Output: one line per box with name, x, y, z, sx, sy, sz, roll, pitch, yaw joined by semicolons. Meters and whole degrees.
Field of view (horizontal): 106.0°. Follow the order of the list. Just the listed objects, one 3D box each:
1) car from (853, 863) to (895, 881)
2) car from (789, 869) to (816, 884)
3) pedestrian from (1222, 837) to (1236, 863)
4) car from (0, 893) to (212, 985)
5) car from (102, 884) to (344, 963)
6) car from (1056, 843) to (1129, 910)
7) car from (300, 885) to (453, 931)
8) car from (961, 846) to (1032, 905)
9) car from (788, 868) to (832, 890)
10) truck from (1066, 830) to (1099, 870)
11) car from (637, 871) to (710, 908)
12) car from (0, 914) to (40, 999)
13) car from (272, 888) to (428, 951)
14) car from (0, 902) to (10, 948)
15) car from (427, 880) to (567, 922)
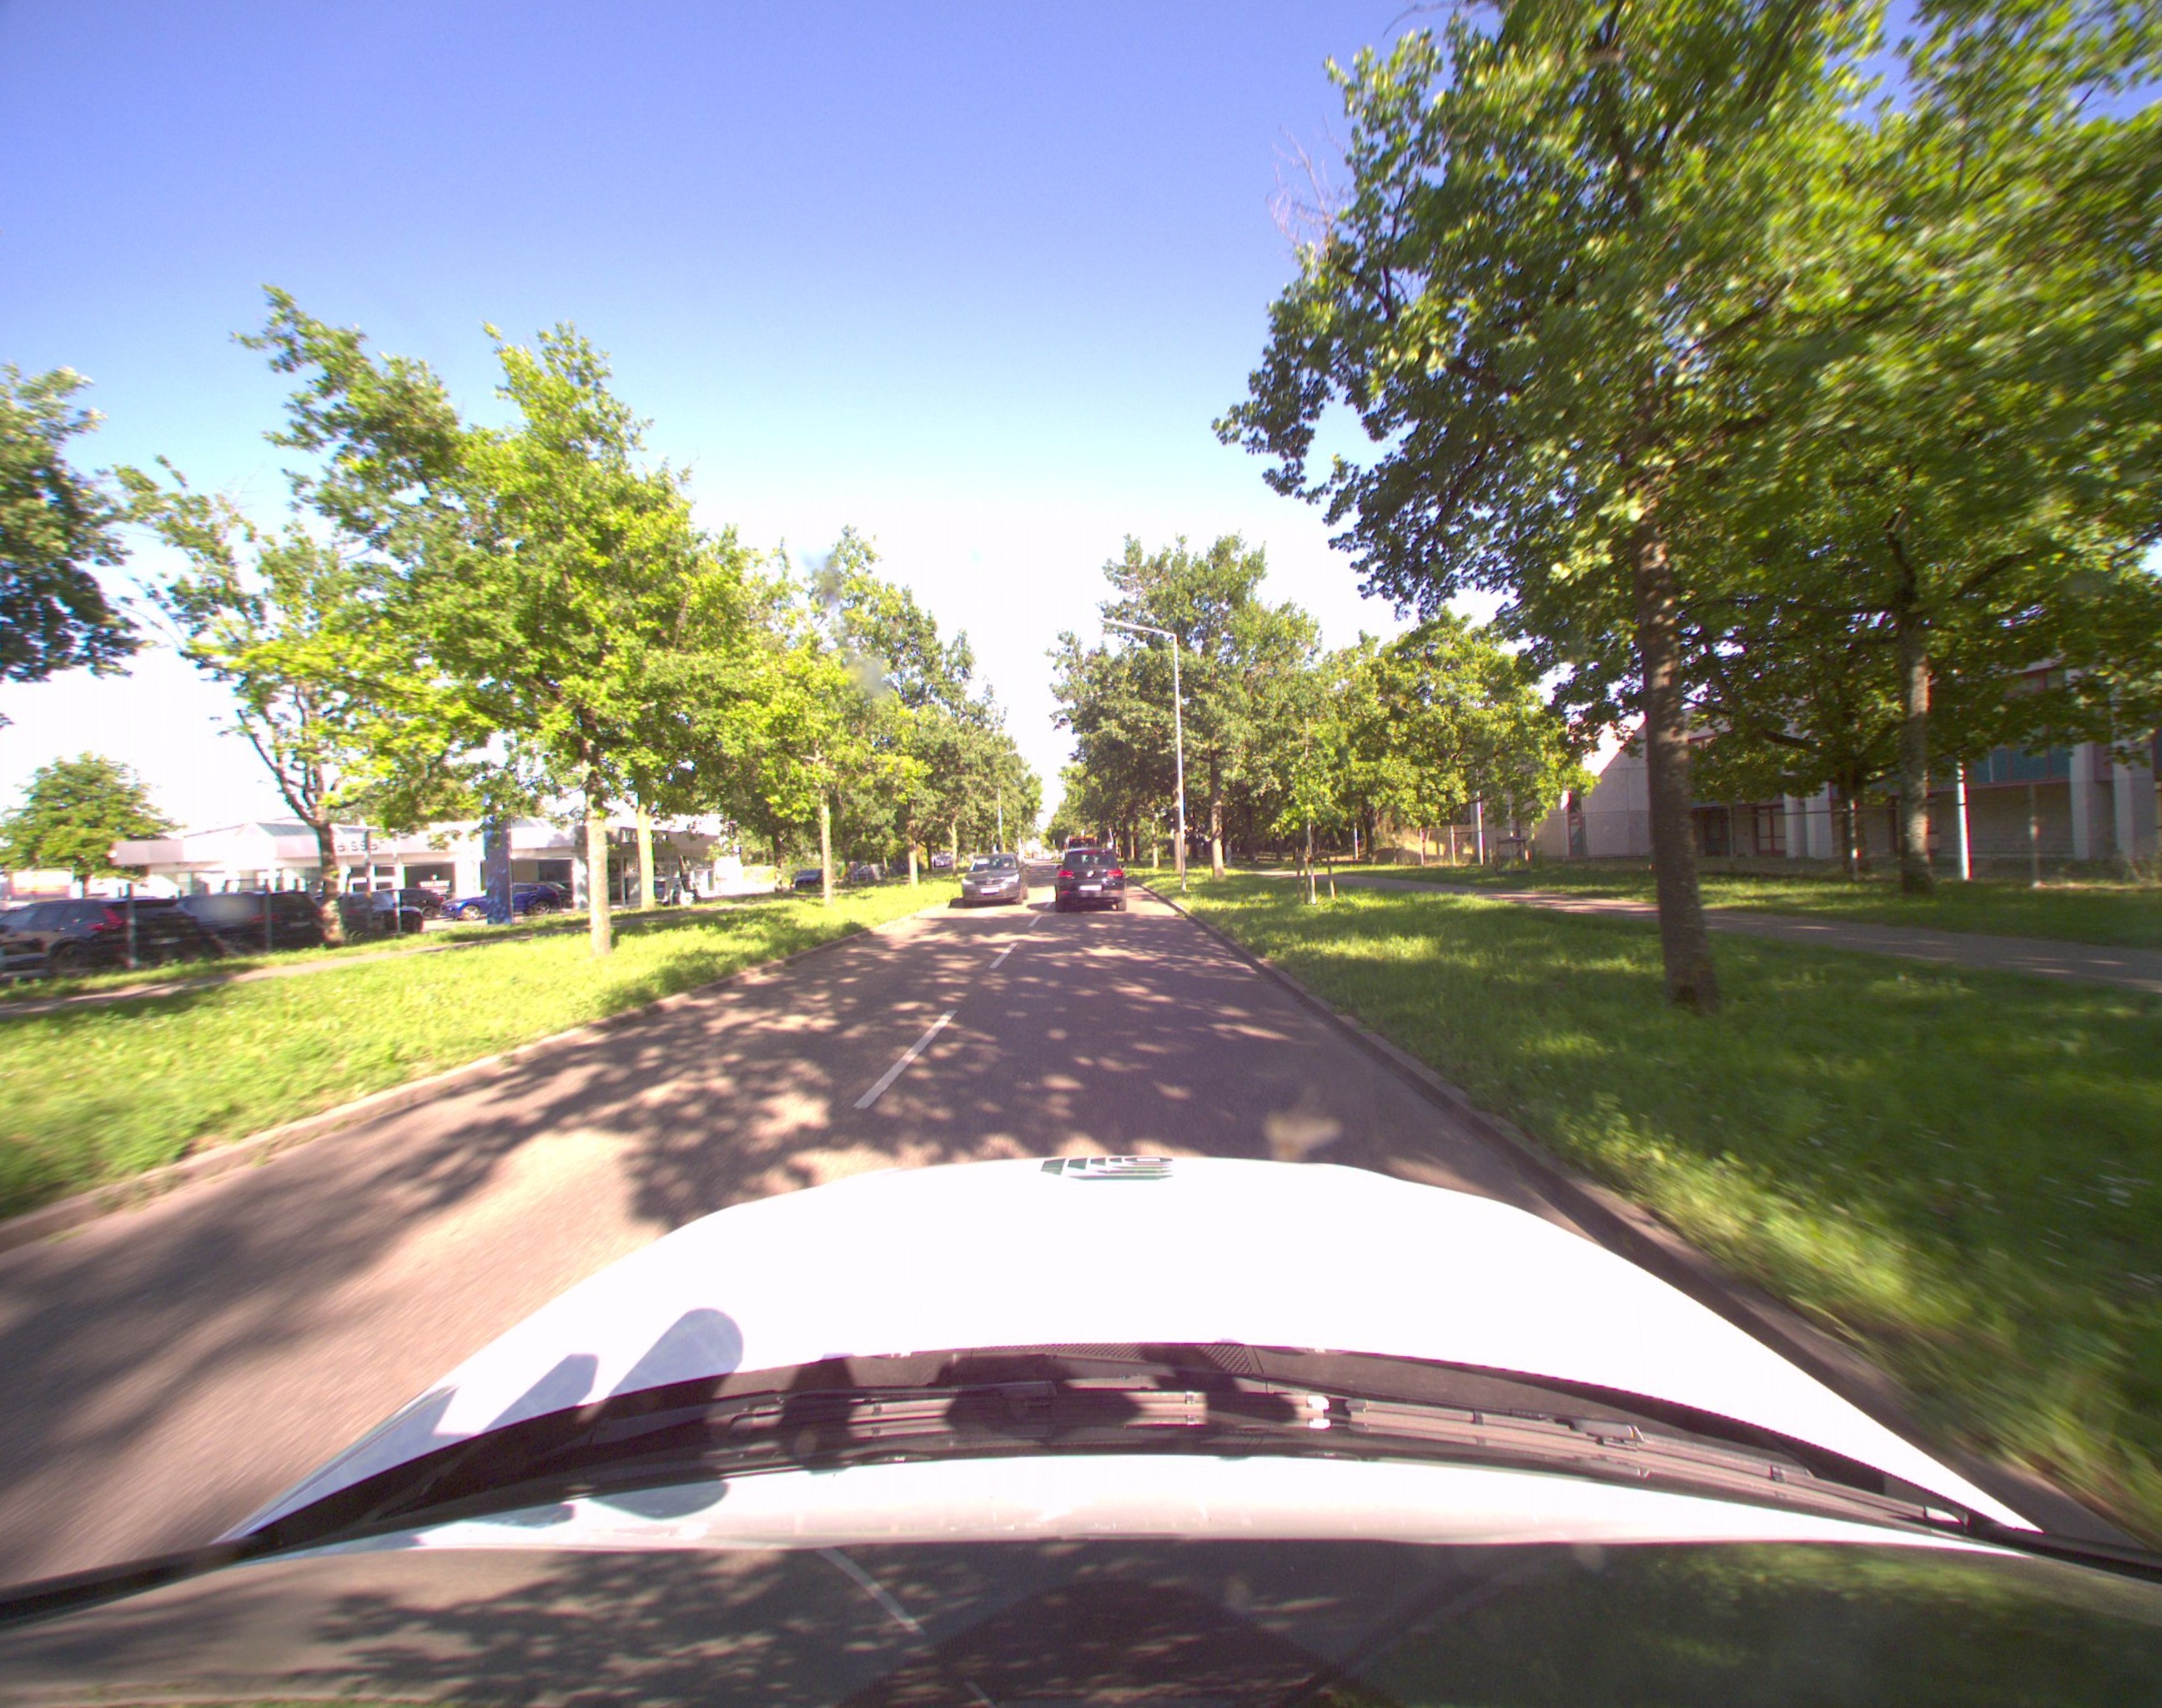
car;-21.627;1.833;85.087;3.985;1.801;1.994;-1;0;-9
car;-32.646;2.603;95.459;1.992;1.566;4.873;-1;0;-7
pedestrian;9.703;-0.250;53.300;0.711;1.631;0.612;-5;0;16
car;-21.560;1.779;17.419;3.971;1.746;1.863;-1;0;2
car;-21.269;1.691;20.319;3.970;1.742;2.002;-1;0;3
car;0.218;0.568;22.193;1.778;1.633;3.996;-1;0;-2
car;-33.192;2.491;38.576;1.975;1.660;5.041;-1;1;27
car;-2.641;0.650;26.371;1.762;1.672;4.198;-4;0;0
car;-21.913;2.007;66.092;1.988;1.597;5.011;-1;0;-2
truck;0.026;-0.347;73.430;2.506;3.243;8.144;-2;0;-2
car;-18.245;1.579;36.484;2.547;1.470;1.432;-2;0;16
car;-21.764;1.907;14.435;4.294;1.518;1.863;-1;0;2
car;-23.657;2.040;26.614;1.998;1.675;4.475;-1;0;-16
car;-39.987;2.605;27.290;1.995;1.661;5.237;-1;0;-12
car;-29.052;2.279;40.678;1.974;1.660;5.294;-1;2;38
